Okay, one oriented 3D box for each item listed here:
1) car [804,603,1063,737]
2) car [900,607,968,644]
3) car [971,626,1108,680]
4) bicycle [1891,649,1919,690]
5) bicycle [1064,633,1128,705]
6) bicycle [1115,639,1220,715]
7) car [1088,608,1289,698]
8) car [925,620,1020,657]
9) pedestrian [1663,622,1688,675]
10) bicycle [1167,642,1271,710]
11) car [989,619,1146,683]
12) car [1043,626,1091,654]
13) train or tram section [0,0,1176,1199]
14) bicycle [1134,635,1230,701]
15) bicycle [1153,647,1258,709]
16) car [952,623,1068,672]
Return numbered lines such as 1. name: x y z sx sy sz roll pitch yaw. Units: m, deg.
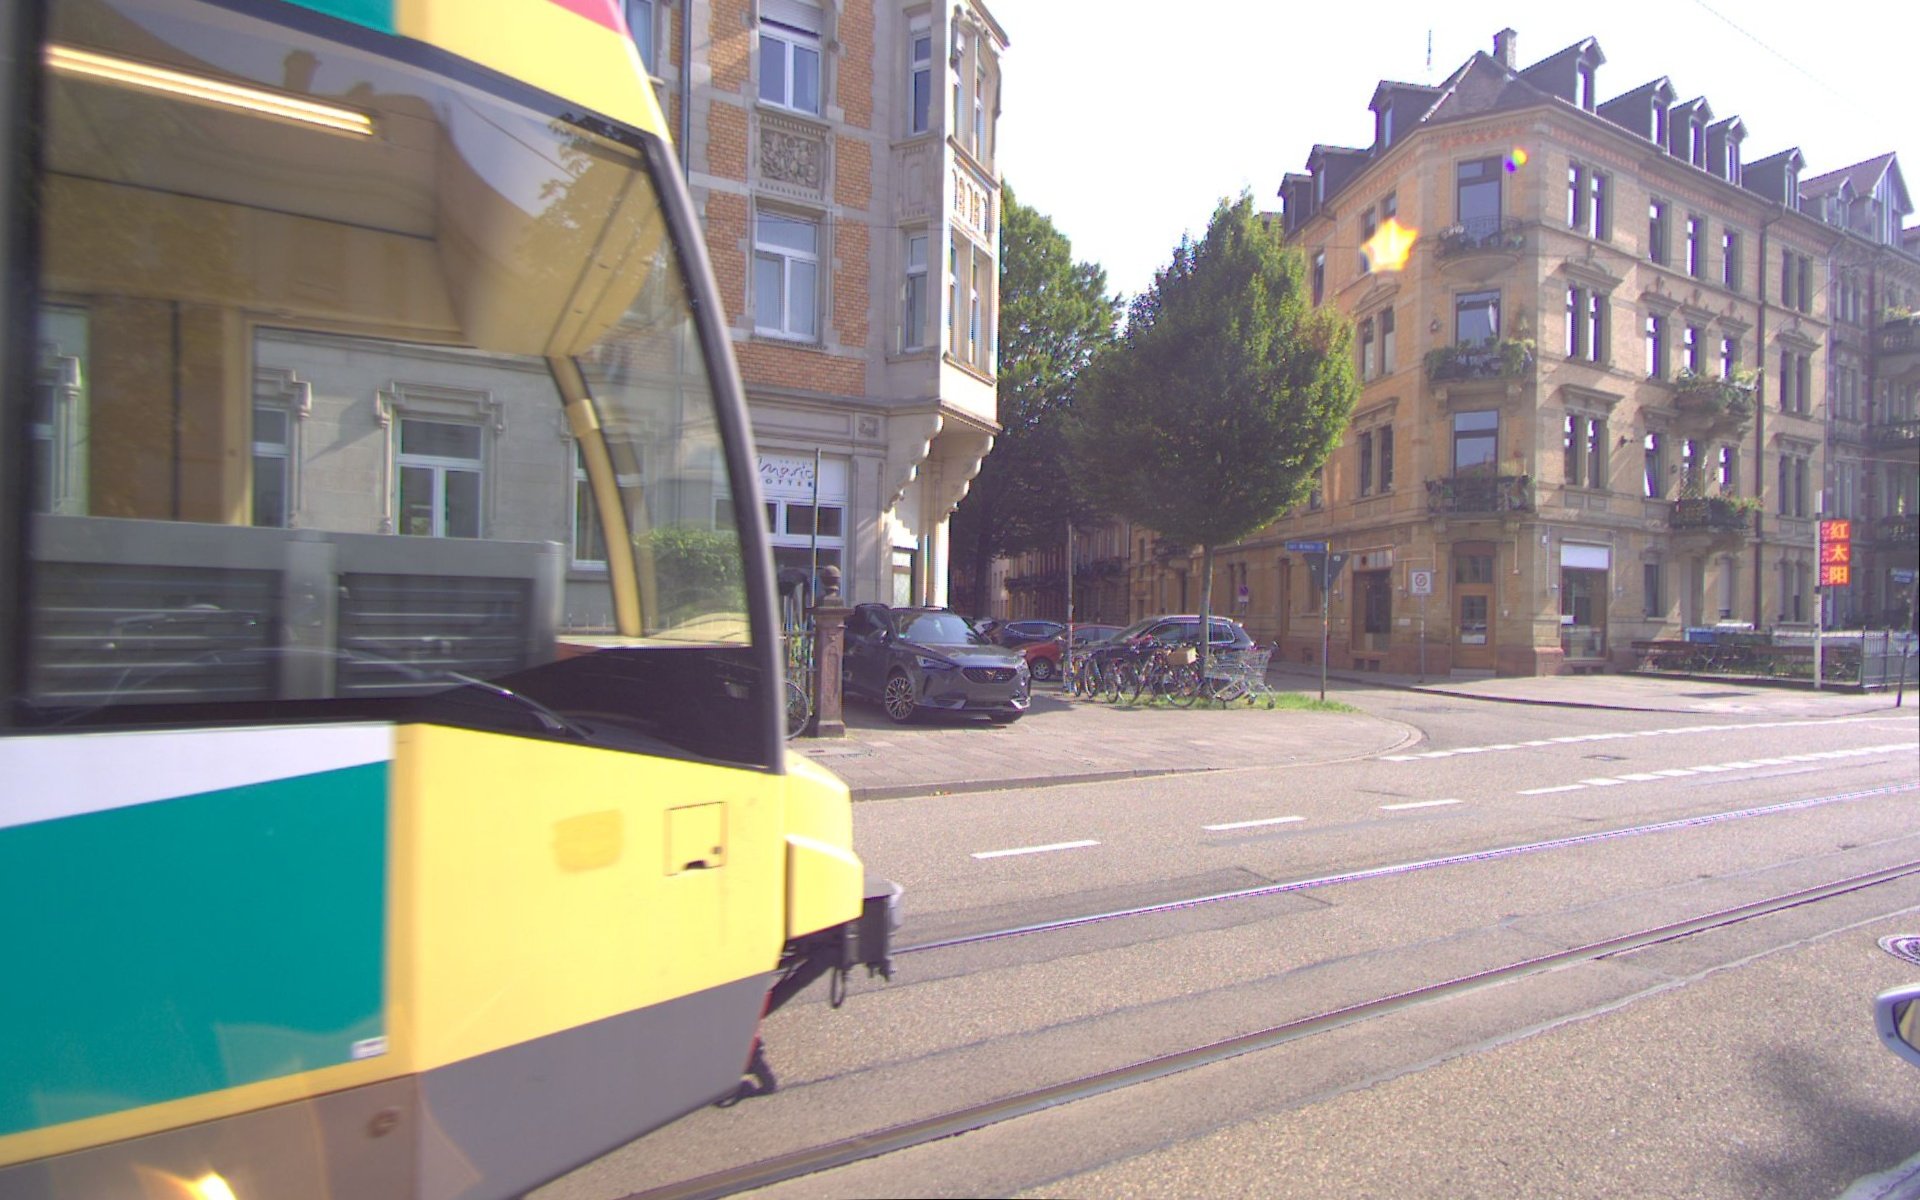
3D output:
1. car: -0.548 0.900 14.485 2.040 1.563 4.118 3 -1 -29
2. car: -1.900 1.841 72.962 4.776 2.557 1.933 1 -1 -6
3. car: 2.405 1.613 30.795 3.873 1.474 1.766 2 -1 -8
4. bicycle: 26.652 1.939 27.710 0.412 1.074 1.350 2 1 -31
5. bicycle: 2.518 1.261 18.768 0.534 1.273 1.768 1 -1 -14
6. bicycle: 3.515 1.286 17.156 0.538 1.197 1.842 2 -2 -38
7. car: 4.753 1.087 21.178 3.699 1.682 1.766 2 0 -8
8. car: 0.637 1.938 50.708 4.460 1.578 1.764 4 -2 -13
9. pedestrian: 23.467 1.585 32.935 0.576 1.689 0.545 2 -1 -40
10. bicycle: 4.645 1.365 18.029 1.741 1.175 0.483 1 -1 -10
11. car: 2.767 1.308 26.194 3.701 1.546 1.765 2 -1 -11
12. car: 6.253 2.329 59.052 1.963 1.514 3.996 1 -1 -6
13. train or tram section: -4.755 -0.430 1.067 10.647 3.552 2.722 2 0 -30
14. bicycle: 4.303 1.320 19.478 1.744 1.245 0.541 2 -1 -16
15. bicycle: 4.543 1.441 18.597 1.804 1.104 0.542 1 -1 -11
16. car: 1.738 1.681 35.668 3.820 1.627 1.765 2 -1 -9
